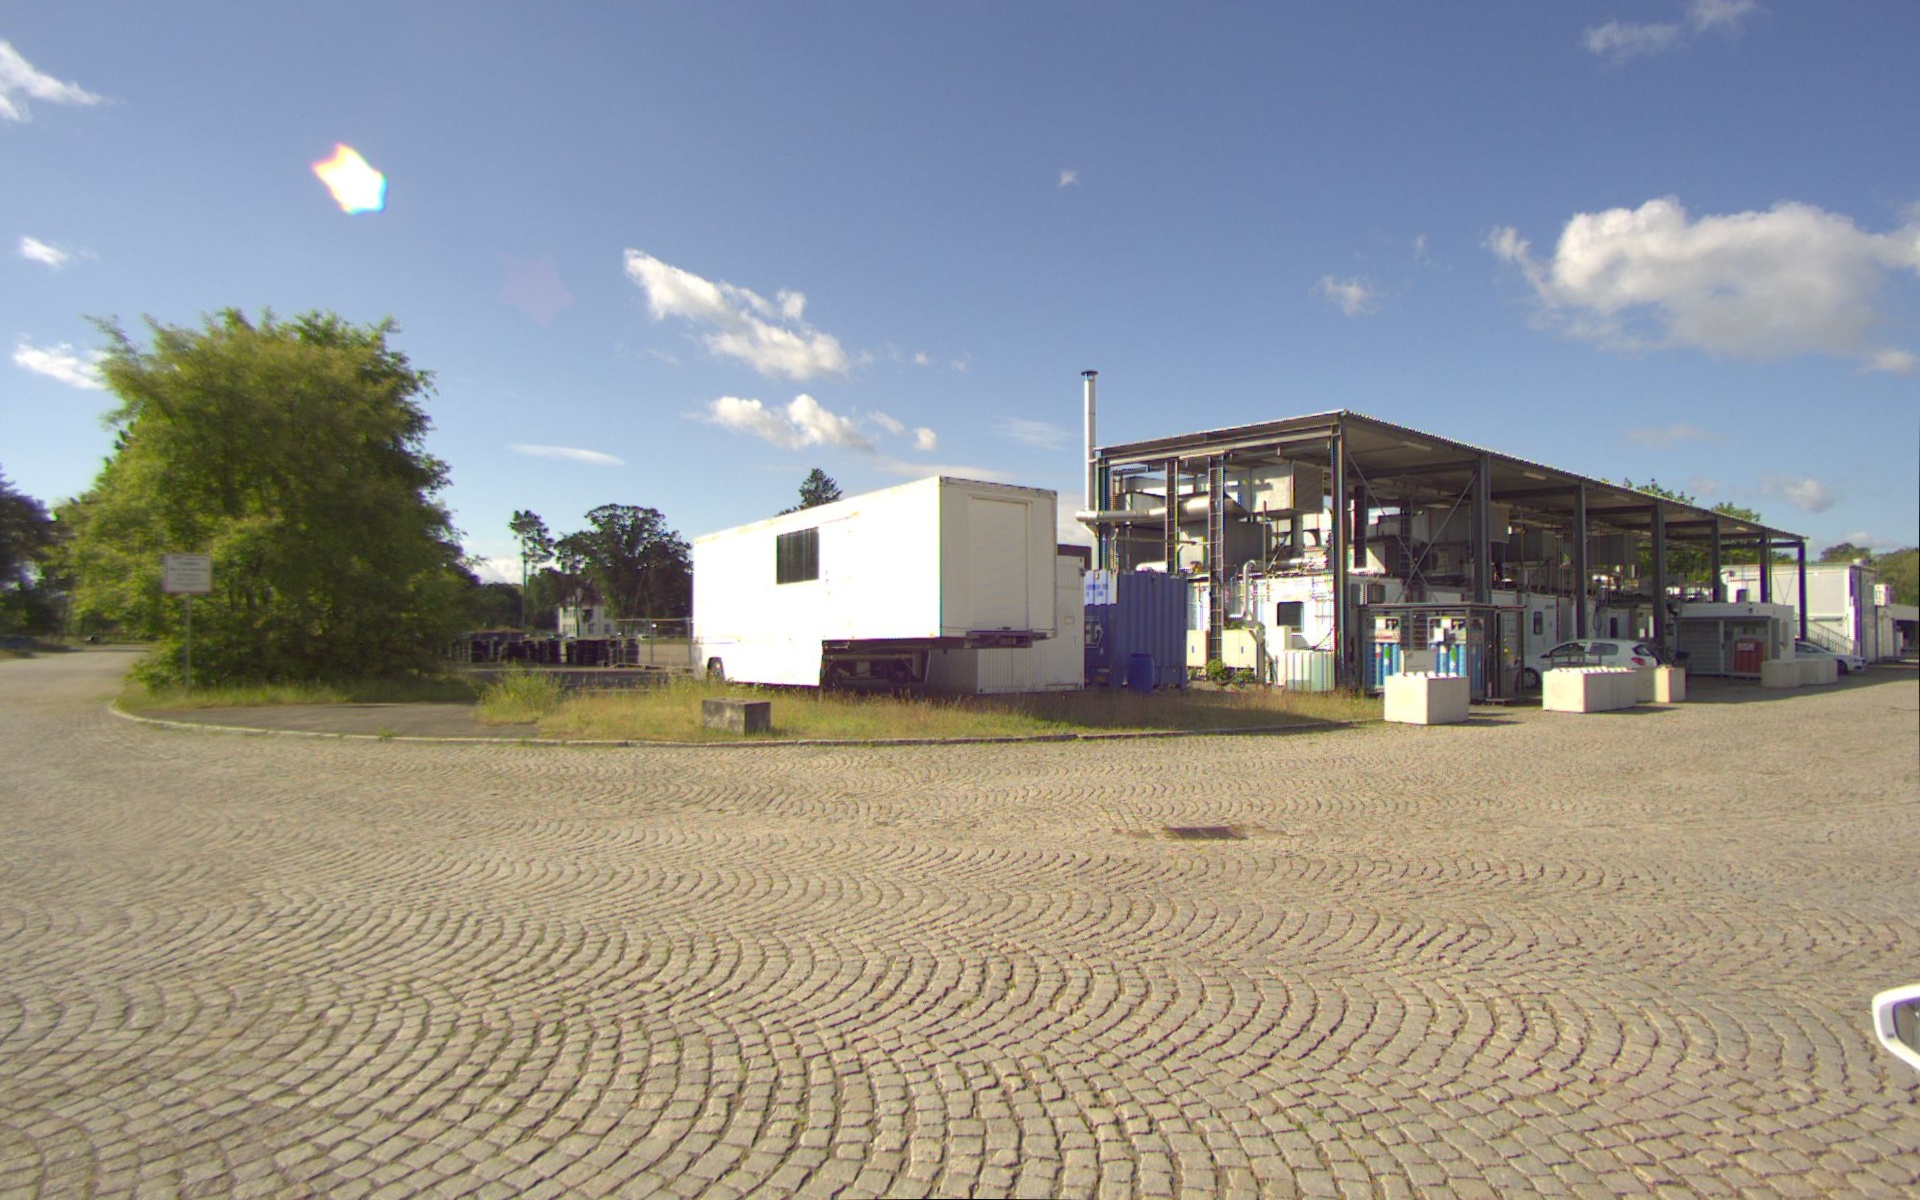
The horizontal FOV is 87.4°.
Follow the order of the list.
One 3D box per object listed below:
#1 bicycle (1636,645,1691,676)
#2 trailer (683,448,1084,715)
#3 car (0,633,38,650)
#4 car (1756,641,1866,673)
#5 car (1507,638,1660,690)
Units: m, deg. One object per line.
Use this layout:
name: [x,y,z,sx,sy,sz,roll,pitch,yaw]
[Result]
bicycle: [27.069,2.324,38.681,0.481,1.151,1.652,2,-3,-40]
trailer: [-2.218,-0.098,20.083,2.755,3.962,10.776,2,-2,-36]
car: [-71.099,3.125,75.223,1.270,1.276,2.896,-1,-2,42]
car: [39.019,2.591,46.106,1.663,1.427,3.653,2,-3,-41]
car: [17.826,1.798,28.830,1.599,1.394,3.431,2,-3,-42]
